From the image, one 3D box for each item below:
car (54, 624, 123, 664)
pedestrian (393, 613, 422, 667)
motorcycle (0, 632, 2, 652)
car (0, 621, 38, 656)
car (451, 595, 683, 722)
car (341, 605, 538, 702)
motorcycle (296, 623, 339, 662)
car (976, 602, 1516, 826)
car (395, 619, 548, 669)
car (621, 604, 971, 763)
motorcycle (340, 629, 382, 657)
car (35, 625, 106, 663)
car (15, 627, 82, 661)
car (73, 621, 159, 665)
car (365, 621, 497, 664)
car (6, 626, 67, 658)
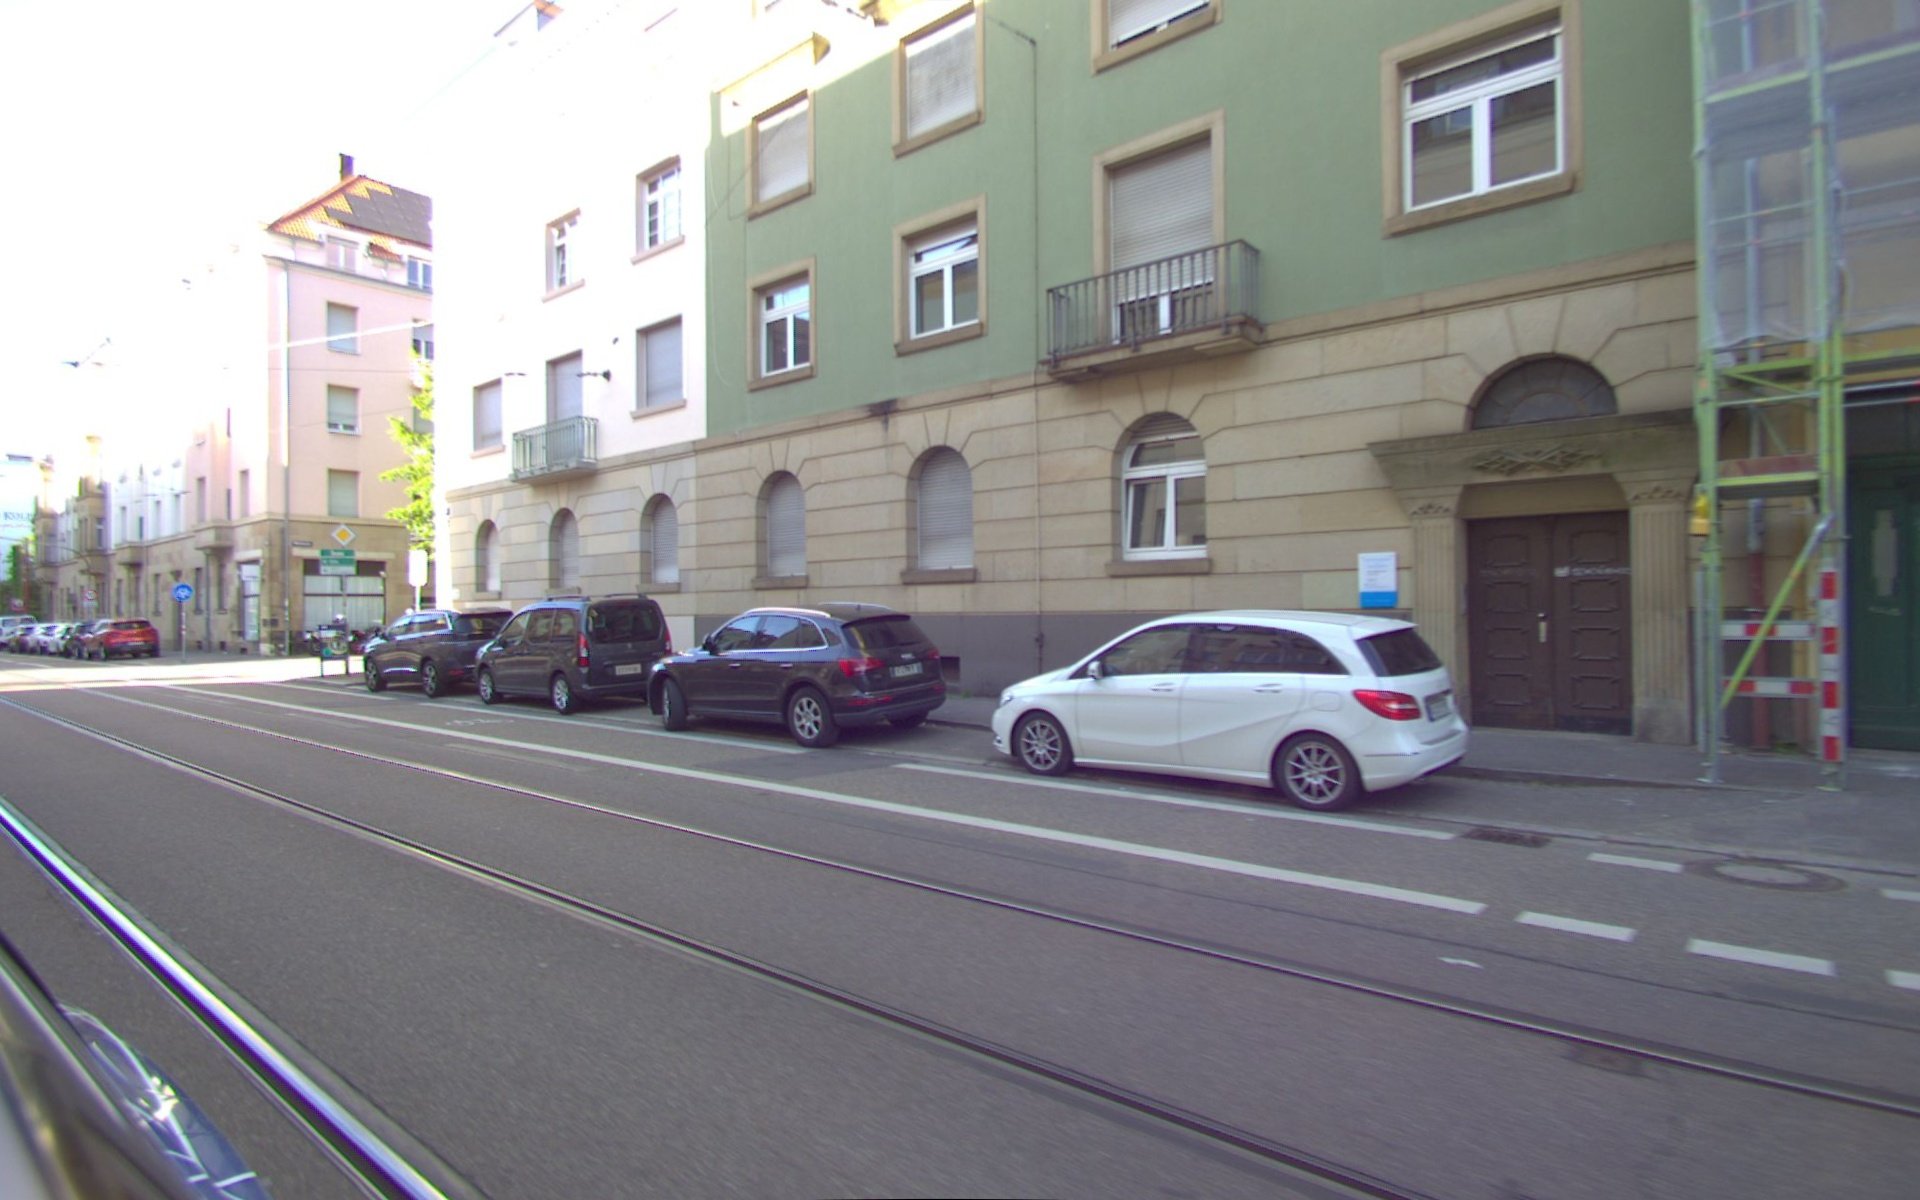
[{"bbox_3d":[-37.414,1.872,43.439,3.017,1.564,1.765,-2,0,41],"label":"car"},{"bbox_3d":[-17.929,1.300,32.848,0.731,1.725,0.600,-2,-2,40],"label":"pedestrian"},{"bbox_3d":[-65.882,2.856,68.405,0.871,1.361,1.963,-1,-1,-17],"label":"motorcycle"},{"bbox_3d":[-57.002,2.291,60.538,5.247,1.963,1.953,-2,0,40],"label":"car"},{"bbox_3d":[-6.759,0.914,17.161,4.526,1.829,1.764,-2,0,42],"label":"car"},{"bbox_3d":[-10.598,1.033,20.471,4.662,1.703,1.766,-2,0,39],"label":"car"},{"bbox_3d":[-24.164,1.570,38.080,0.934,1.429,2.032,0,-1,-20],"label":"motorcycle"},{"bbox_3d":[2.370,0.845,9.166,4.386,1.514,1.700,-2,0,42],"label":"car"},{"bbox_3d":[-15.950,1.416,33.220,1.781,1.476,4.174,-4,-3,39],"label":"car"},{"bbox_3d":[-2.231,0.952,12.964,4.603,1.639,1.766,-2,0,39],"label":"car"},{"bbox_3d":[-23.208,1.653,39.266,0.549,1.043,2.037,-1,-1,-4],"label":"motorcycle"},{"bbox_3d":[-41.604,2.042,47.314,4.174,1.634,1.766,-2,0,39],"label":"car"},{"bbox_3d":[-45.617,2.179,50.621,4.360,1.558,1.755,-2,0,39],"label":"car"},{"bbox_3d":[-33.767,1.701,40.438,4.392,1.618,1.766,-2,0,39],"label":"car"},{"bbox_3d":[-19.345,1.540,37.138,1.746,1.405,3.947,-4,-3,39],"label":"car"},{"bbox_3d":[-49.331,2.234,54.033,4.356,1.535,1.765,-2,0,40],"label":"car"}]
